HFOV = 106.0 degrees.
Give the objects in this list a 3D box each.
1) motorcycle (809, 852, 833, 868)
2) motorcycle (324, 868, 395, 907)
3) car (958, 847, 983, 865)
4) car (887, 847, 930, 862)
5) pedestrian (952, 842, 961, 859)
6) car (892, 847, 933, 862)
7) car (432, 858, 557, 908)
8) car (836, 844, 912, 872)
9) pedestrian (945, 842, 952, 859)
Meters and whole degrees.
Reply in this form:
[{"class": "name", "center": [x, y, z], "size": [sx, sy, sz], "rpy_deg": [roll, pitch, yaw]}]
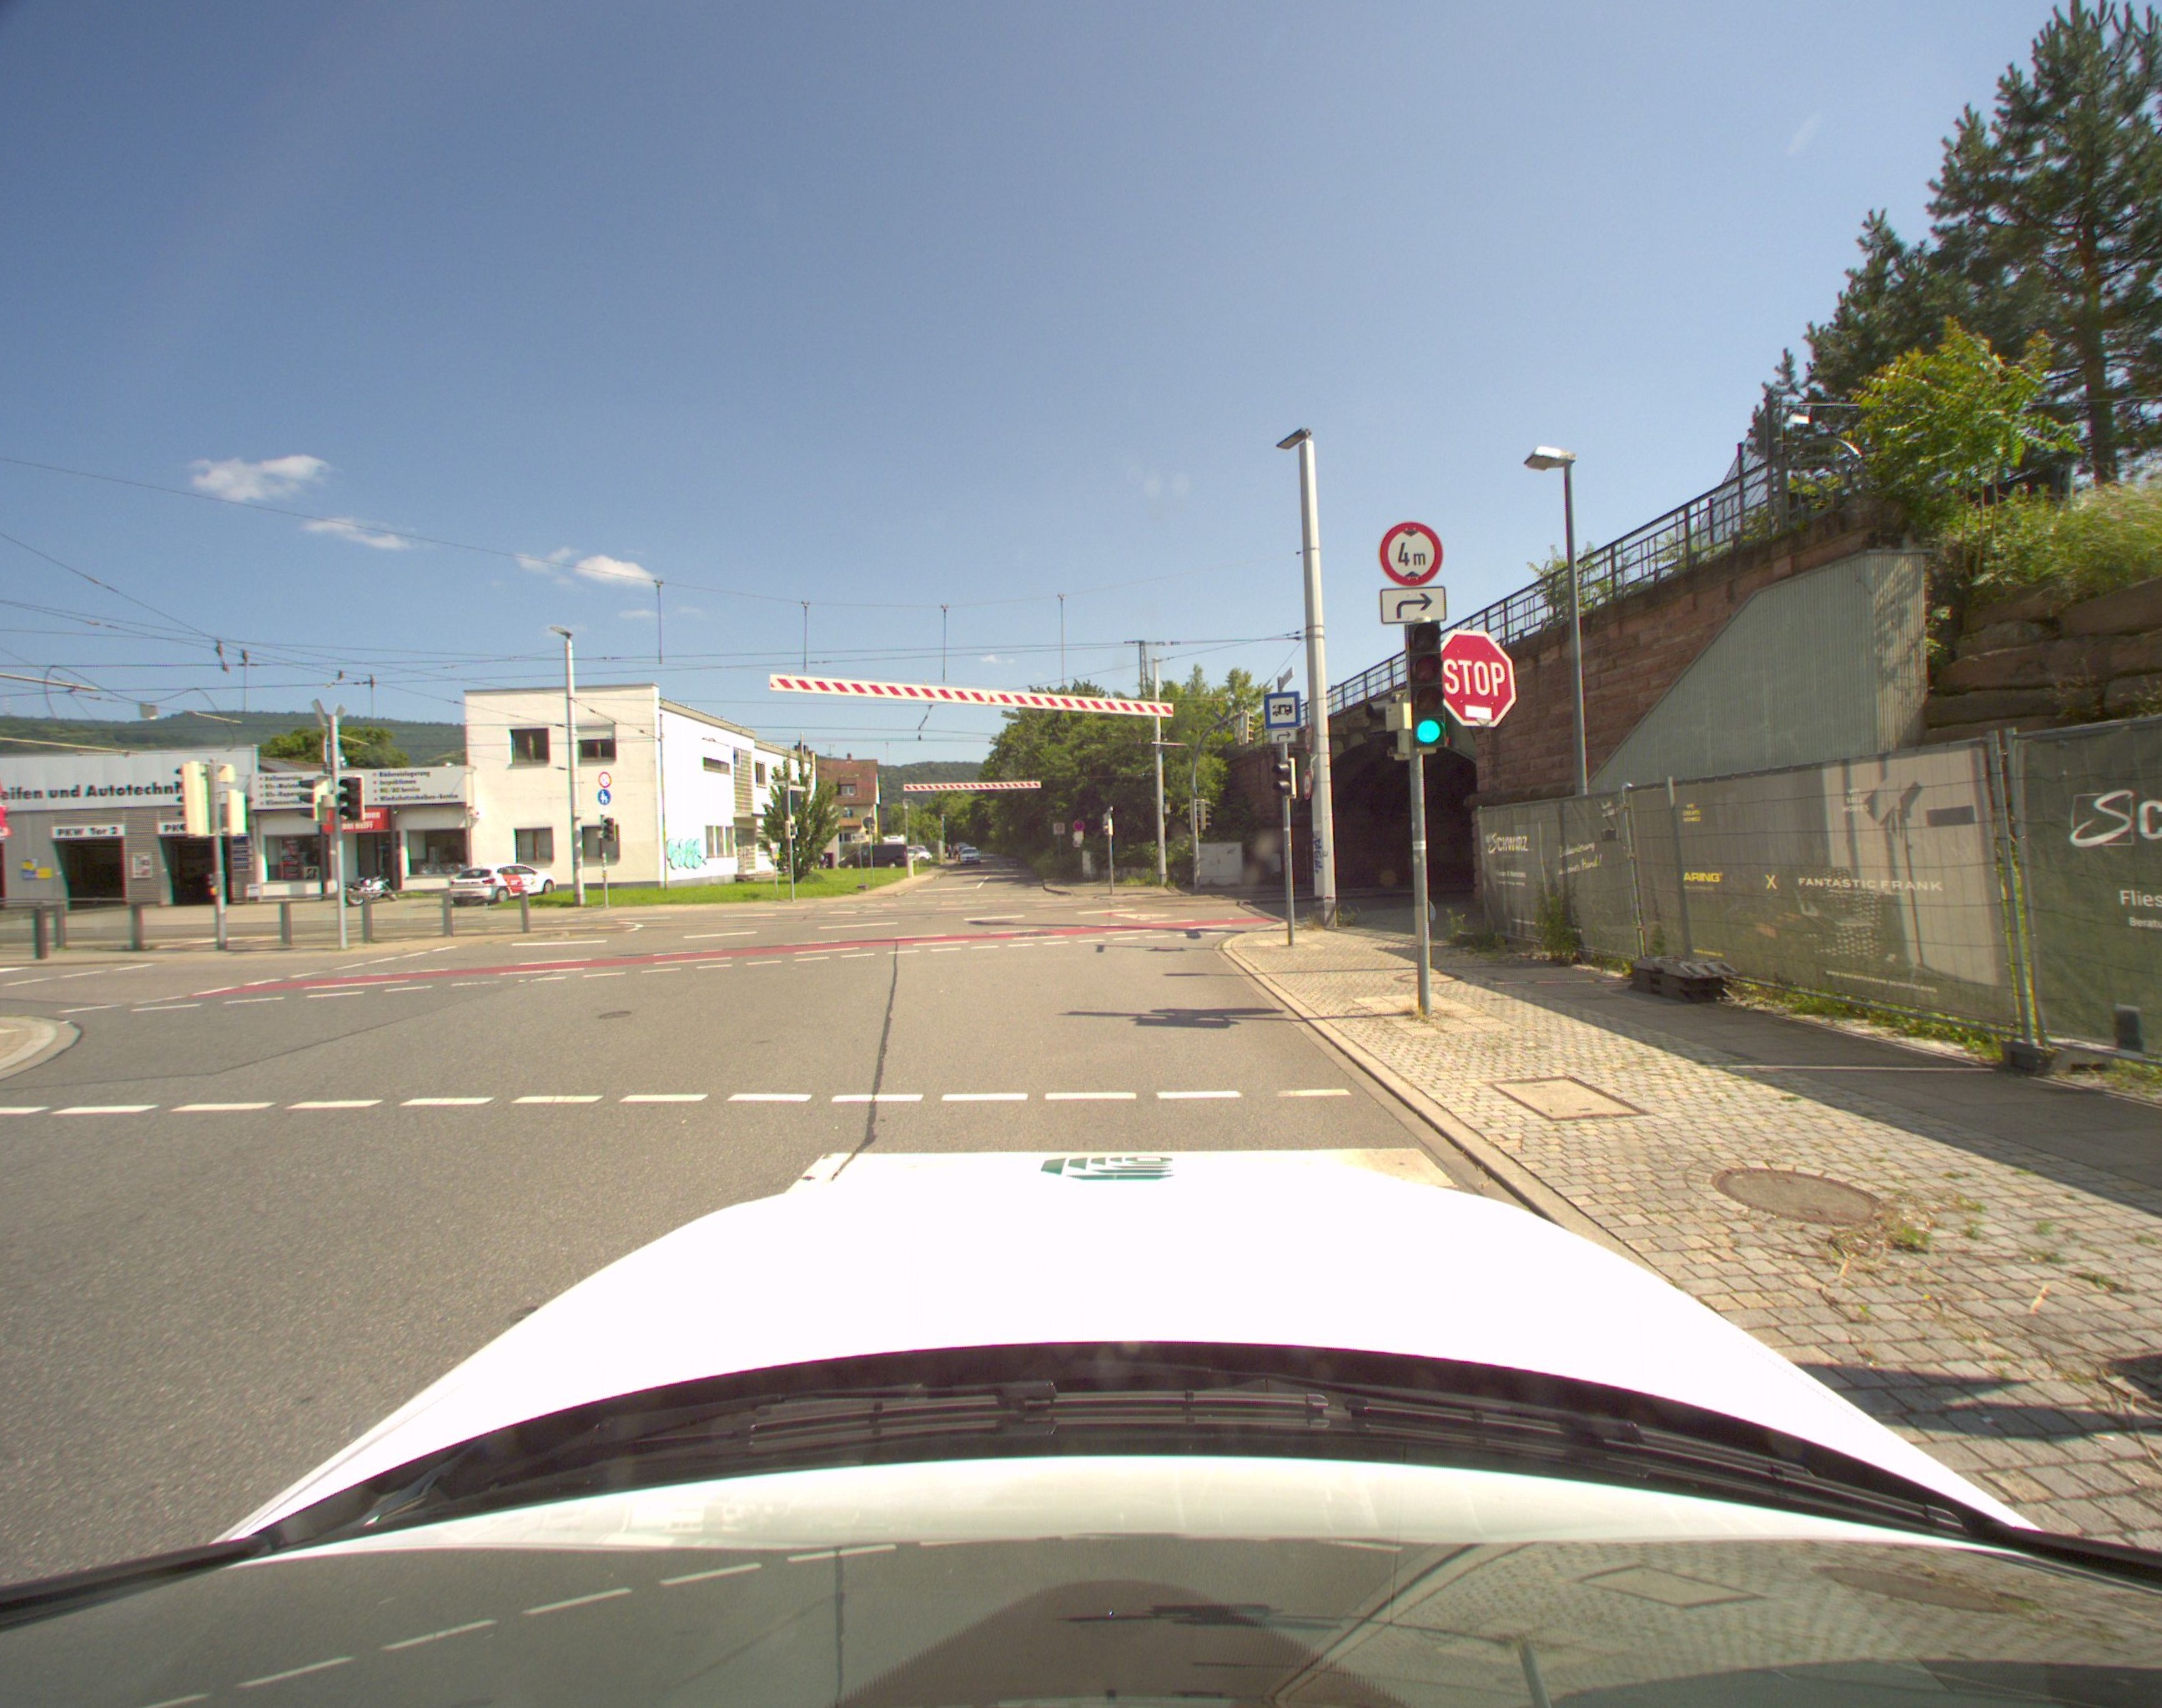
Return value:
[{"class": "motorcycle", "center": [-17.561, 0.409, 55.064], "size": [0.850, 1.032, 2.564], "rpy_deg": [0, -1, -3]}, {"class": "motorcycle", "center": [-28.239, 1.287, 31.925], "size": [0.726, 1.308, 2.191], "rpy_deg": [-2, 4, 0]}, {"class": "car", "center": [-9.818, 0.155, 72.594], "size": [2.084, 1.510, 4.530], "rpy_deg": [0, 0, -6]}, {"class": "car", "center": [-15.909, 0.029, 75.438], "size": [3.715, 1.371, 1.601], "rpy_deg": [0, -1, -6]}, {"class": "pedestrian", "center": [-12.948, -0.327, 84.893], "size": [0.875, 1.763, 0.729], "rpy_deg": [0, -1, -7]}, {"class": "car", "center": [-16.089, 0.053, 77.863], "size": [3.715, 1.371, 1.601], "rpy_deg": [0, -1, -6]}, {"class": "car", "center": [-22.594, 1.064, 31.597], "size": [1.878, 1.462, 4.001], "rpy_deg": [-2, 4, 0]}, {"class": "car", "center": [-15.511, 0.286, 61.194], "size": [5.244, 1.816, 1.995], "rpy_deg": [-3, 0, -8]}, {"class": "pedestrian", "center": [-13.819, -0.344, 85.170], "size": [0.653, 1.763, 0.802], "rpy_deg": [0, -1, -7]}]
